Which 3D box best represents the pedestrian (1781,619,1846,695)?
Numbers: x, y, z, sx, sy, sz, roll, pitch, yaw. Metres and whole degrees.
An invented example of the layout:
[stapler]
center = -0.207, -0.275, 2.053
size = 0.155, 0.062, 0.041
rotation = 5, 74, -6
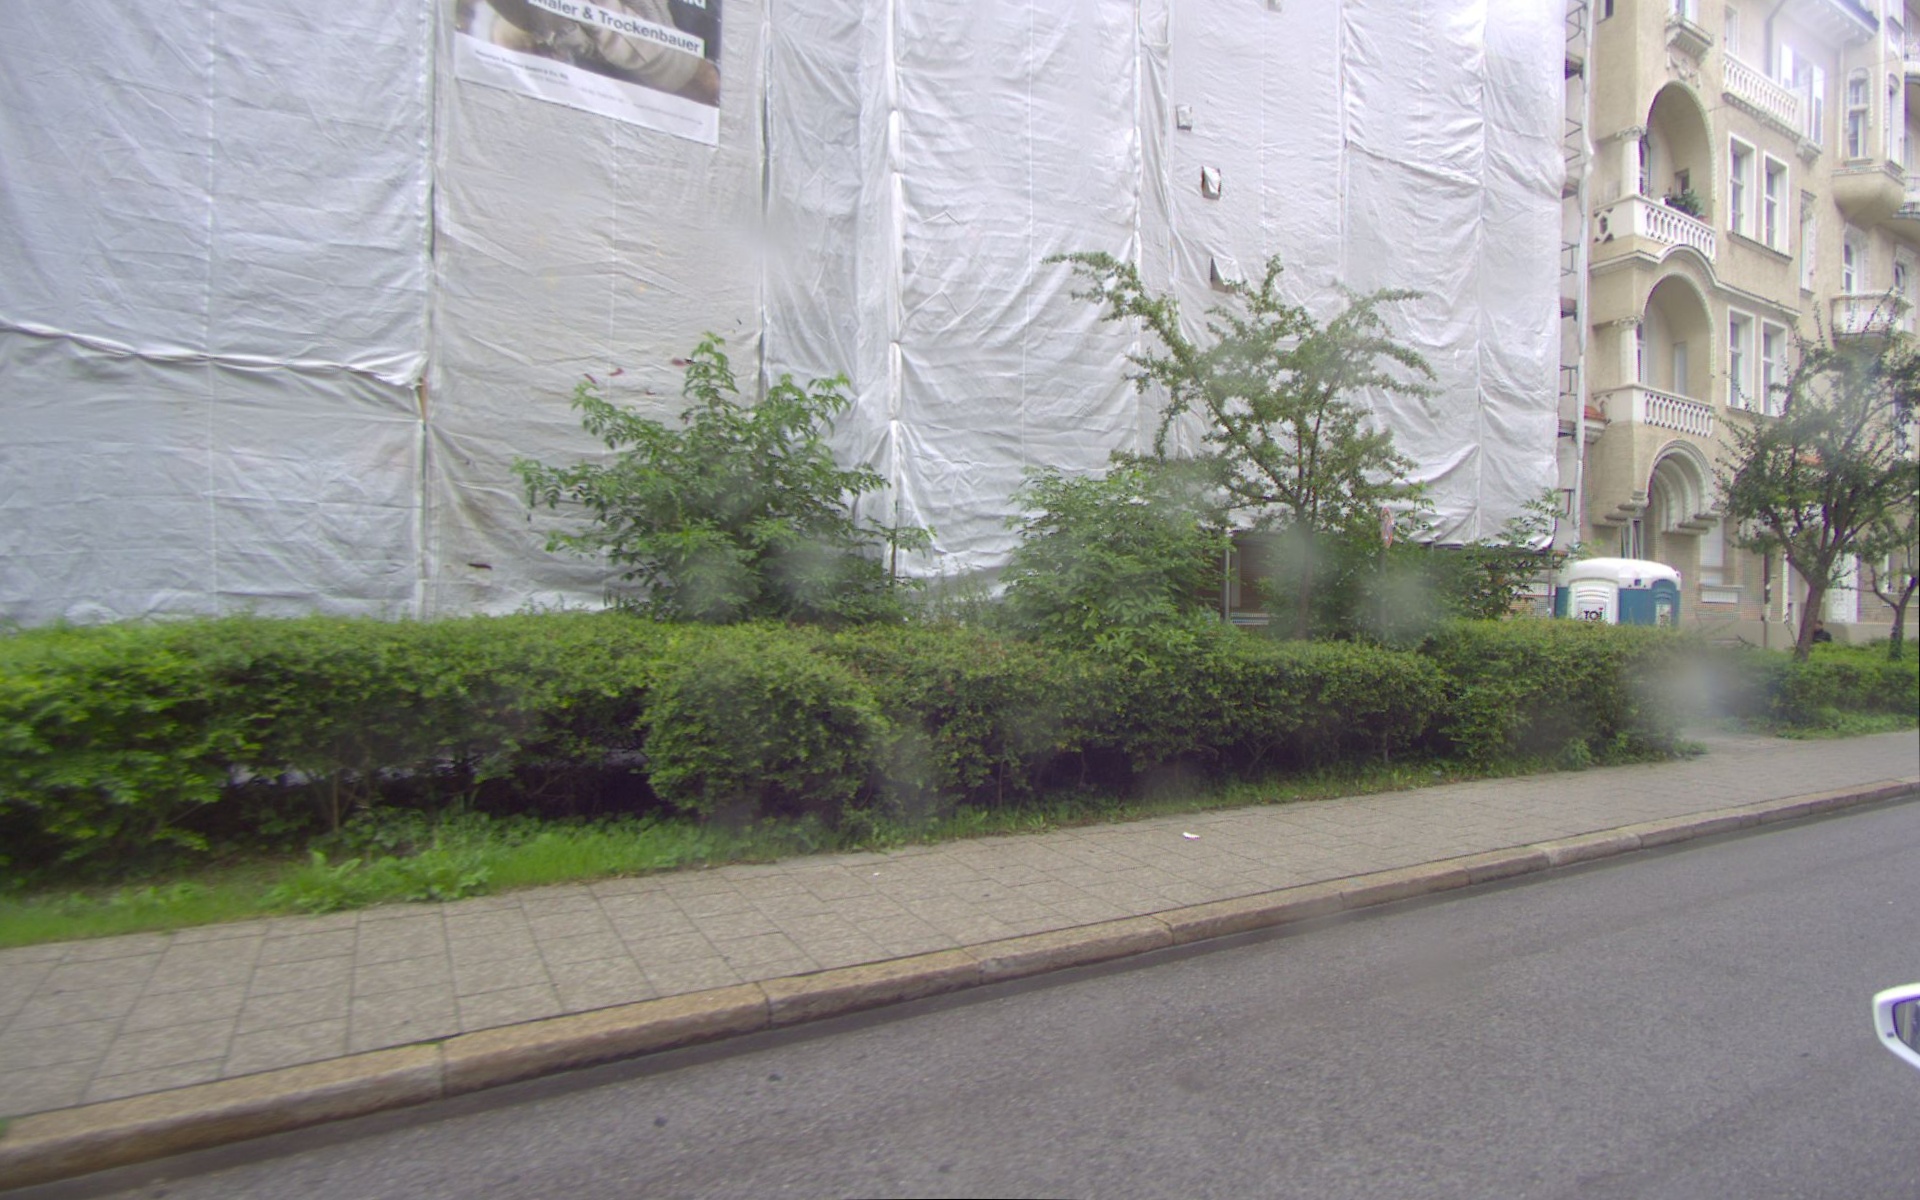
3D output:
[pedestrian]
center = 20.288, 1.341, 23.881
size = 0.937, 1.774, 0.909
rotation = 1, -2, -30
